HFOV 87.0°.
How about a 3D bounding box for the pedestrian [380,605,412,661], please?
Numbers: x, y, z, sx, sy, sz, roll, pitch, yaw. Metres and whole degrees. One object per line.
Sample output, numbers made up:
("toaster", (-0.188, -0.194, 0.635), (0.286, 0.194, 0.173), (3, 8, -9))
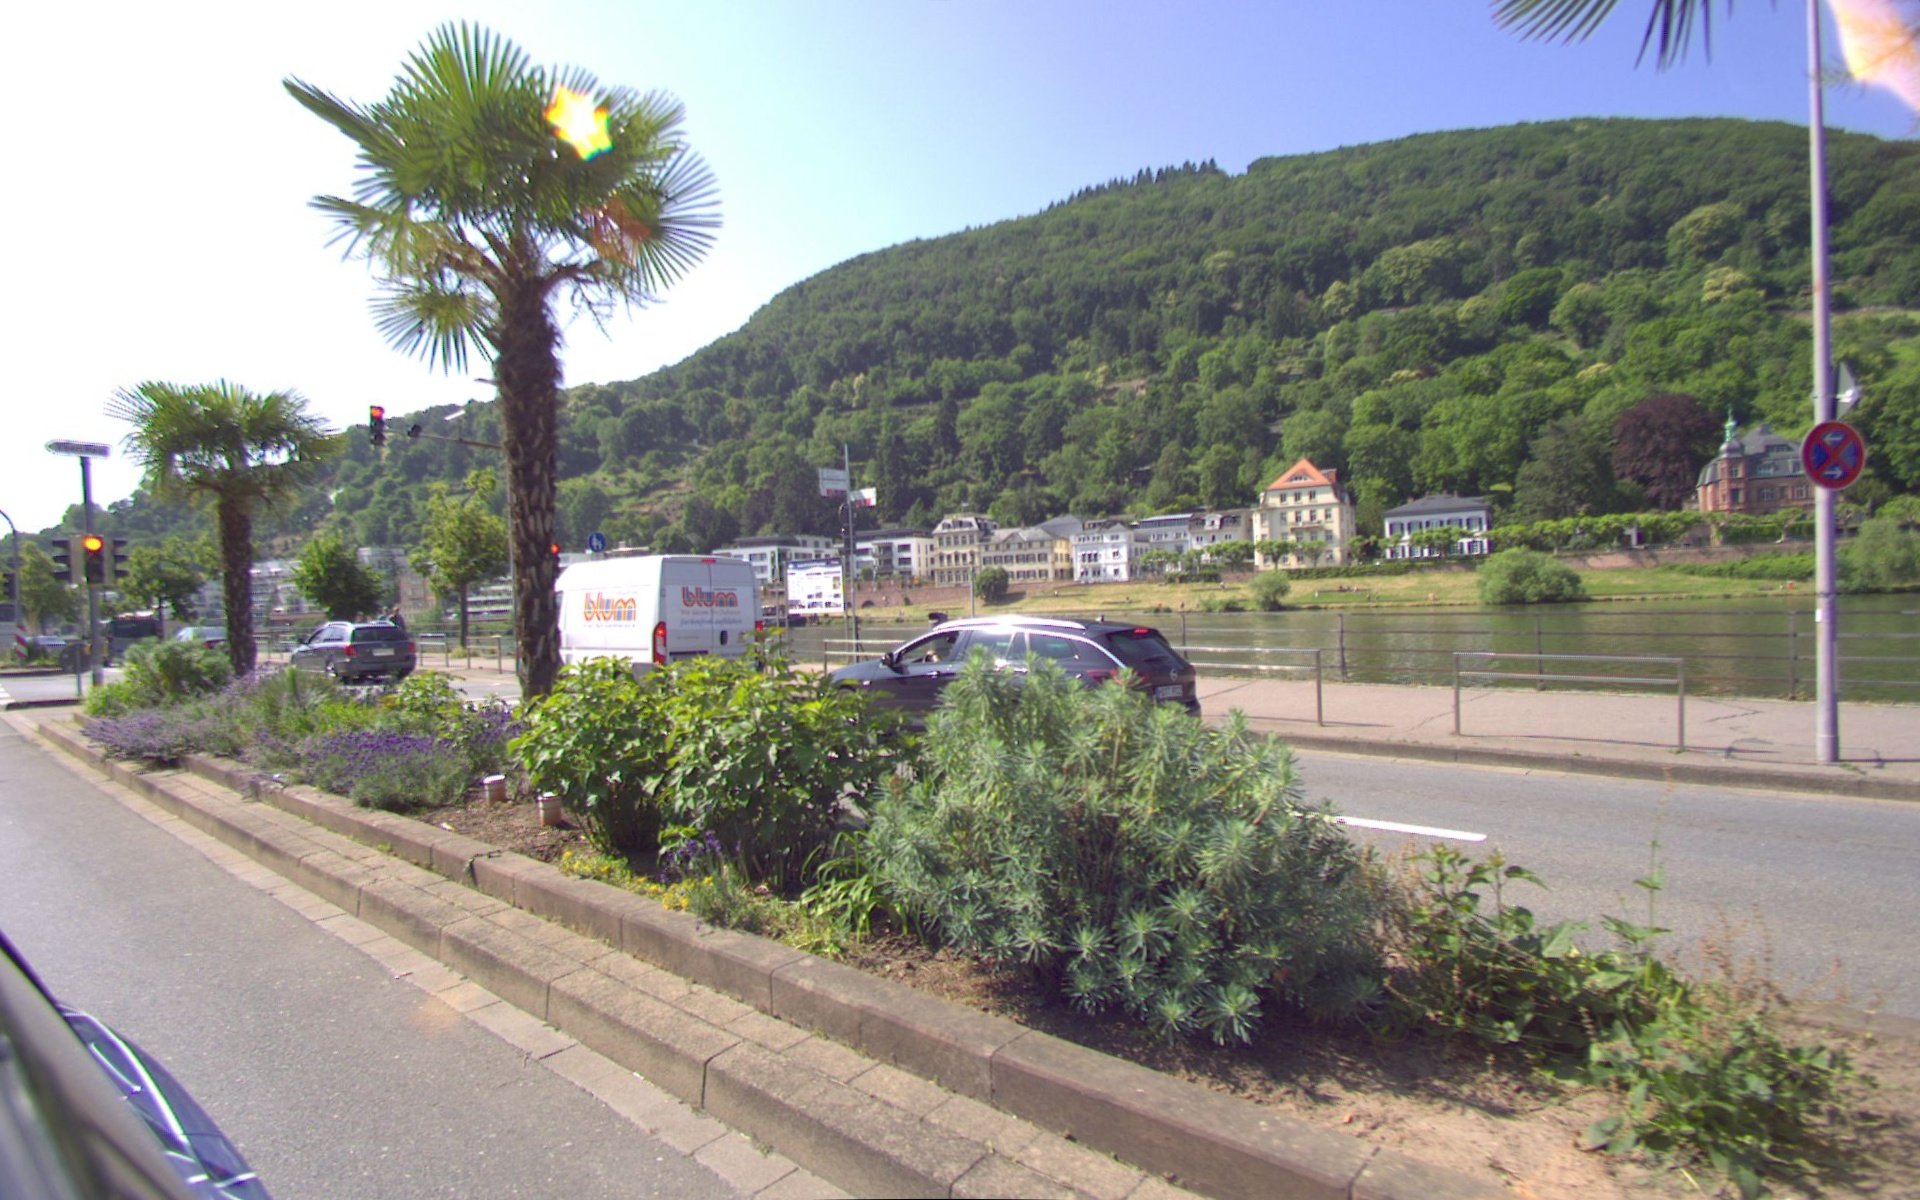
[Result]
("pedestrian", (-19.134, 1.116, 34.348), (0.579, 1.870, 0.784), (-2, -1, 39))

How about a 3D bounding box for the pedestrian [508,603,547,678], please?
("pedestrian", (-10.477, 0.980, 24.517), (0.602, 1.726, 0.396), (-5, 3, 1))

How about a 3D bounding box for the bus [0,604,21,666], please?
("bus", (-57.393, 2.029, 58.052), (10.763, 3.413, 2.628), (-1, 0, 33))

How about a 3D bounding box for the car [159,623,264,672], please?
("car", (-24.920, 1.520, 33.629), (4.643, 1.469, 1.972), (-1, 0, 43))

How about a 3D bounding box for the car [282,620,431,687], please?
("car", (-15.277, 1.290, 25.534), (4.259, 1.463, 1.973), (-2, 1, 41))

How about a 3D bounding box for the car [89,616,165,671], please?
("car", (-35.411, 1.793, 42.983), (5.022, 2.166, 1.845), (-1, 0, 43))

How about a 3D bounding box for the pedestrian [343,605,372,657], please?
("pedestrian", (-20.826, 1.071, 34.982), (0.780, 1.765, 0.586), (-2, -1, 39))

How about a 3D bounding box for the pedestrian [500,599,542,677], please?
("pedestrian", (-10.565, 0.906, 24.367), (0.602, 1.805, 0.396), (-6, 3, 1))

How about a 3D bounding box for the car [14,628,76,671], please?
("car", (-45.880, 2.435, 50.721), (4.000, 2.029, 1.972), (-2, 0, 43))

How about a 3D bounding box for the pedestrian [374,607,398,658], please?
("pedestrian", (-20.205, 1.134, 35.639), (0.503, 1.765, 0.586), (-2, -1, 39))

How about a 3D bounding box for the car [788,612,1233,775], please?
("car", (0.375, 0.900, 11.530), (4.919, 1.429, 1.972), (-1, 0, 42))

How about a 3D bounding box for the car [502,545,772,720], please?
("car", (-5.551, 0.550, 17.104), (4.746, 2.545, 2.172), (-1, -3, 41))
